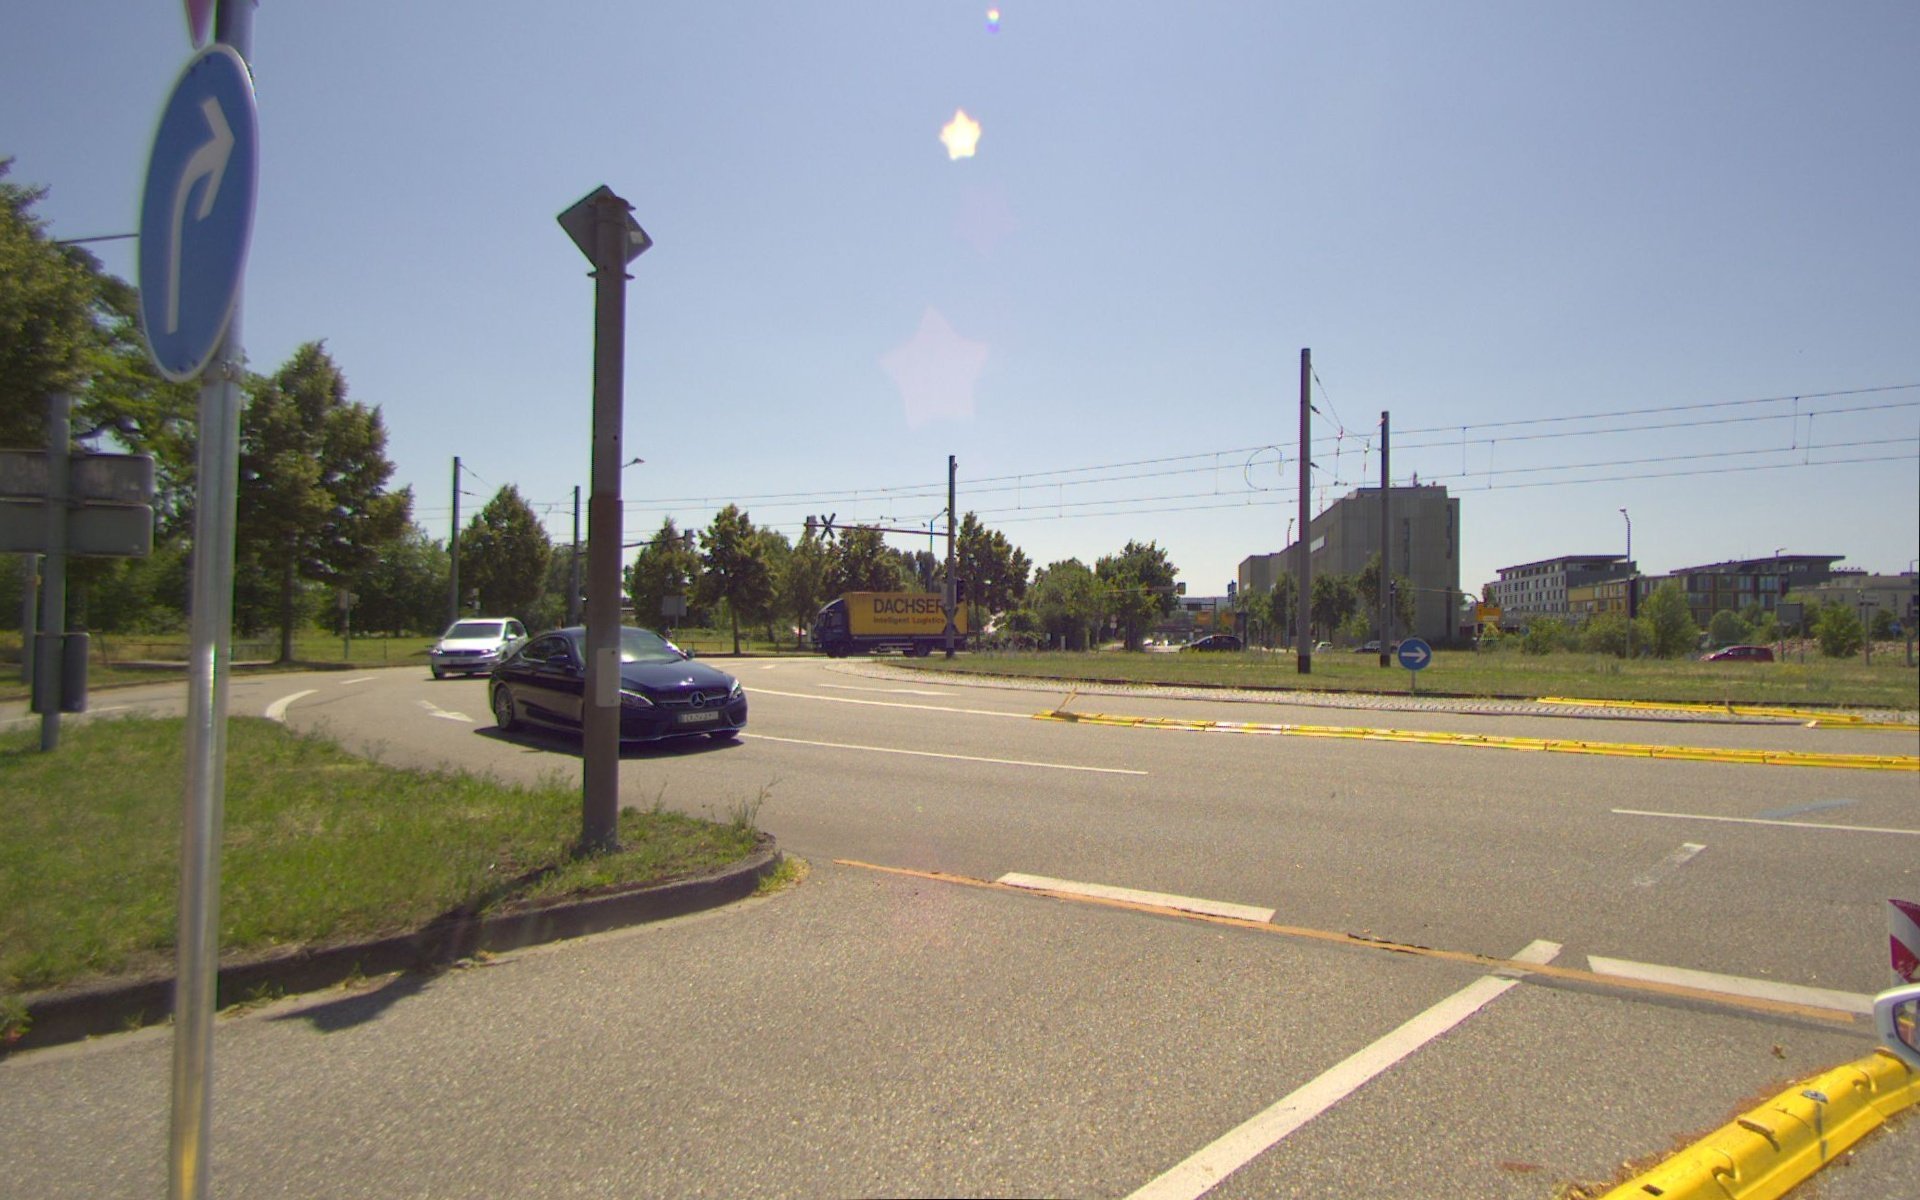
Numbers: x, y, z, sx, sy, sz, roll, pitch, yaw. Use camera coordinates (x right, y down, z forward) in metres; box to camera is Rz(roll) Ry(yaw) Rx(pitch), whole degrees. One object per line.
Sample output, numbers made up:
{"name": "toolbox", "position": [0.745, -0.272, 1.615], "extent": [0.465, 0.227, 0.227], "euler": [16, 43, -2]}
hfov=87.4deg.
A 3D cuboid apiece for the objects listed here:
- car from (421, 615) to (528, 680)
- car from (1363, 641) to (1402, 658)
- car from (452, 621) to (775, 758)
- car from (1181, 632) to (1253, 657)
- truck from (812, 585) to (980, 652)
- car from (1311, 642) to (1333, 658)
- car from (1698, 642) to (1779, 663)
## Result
{"name": "car", "position": [-13.758, 1.304, 28.737], "extent": [1.775, 1.670, 4.593], "euler": [-1, -1, -13]}
{"name": "car", "position": [31.050, 3.622, 73.846], "extent": [1.524, 1.208, 3.478], "euler": [1, -2, 3]}
{"name": "car", "position": [-4.631, 1.019, 12.983], "extent": [4.885, 1.455, 1.848], "euler": [-1, -2, 43]}
{"name": "car", "position": [15.724, 2.724, 61.526], "extent": [3.968, 1.480, 1.730], "euler": [1, -2, 1]}
{"name": "truck", "position": [-3.696, 1.161, 58.953], "extent": [9.477, 3.707, 2.693], "euler": [1, -2, -23]}
{"name": "car", "position": [41.612, 5.709, 115.497], "extent": [1.960, 1.639, 4.003], "euler": [2, -1, 14]}
{"name": "car", "position": [45.295, 3.060, 58.507], "extent": [3.451, 1.104, 1.498], "euler": [0, -2, 20]}
